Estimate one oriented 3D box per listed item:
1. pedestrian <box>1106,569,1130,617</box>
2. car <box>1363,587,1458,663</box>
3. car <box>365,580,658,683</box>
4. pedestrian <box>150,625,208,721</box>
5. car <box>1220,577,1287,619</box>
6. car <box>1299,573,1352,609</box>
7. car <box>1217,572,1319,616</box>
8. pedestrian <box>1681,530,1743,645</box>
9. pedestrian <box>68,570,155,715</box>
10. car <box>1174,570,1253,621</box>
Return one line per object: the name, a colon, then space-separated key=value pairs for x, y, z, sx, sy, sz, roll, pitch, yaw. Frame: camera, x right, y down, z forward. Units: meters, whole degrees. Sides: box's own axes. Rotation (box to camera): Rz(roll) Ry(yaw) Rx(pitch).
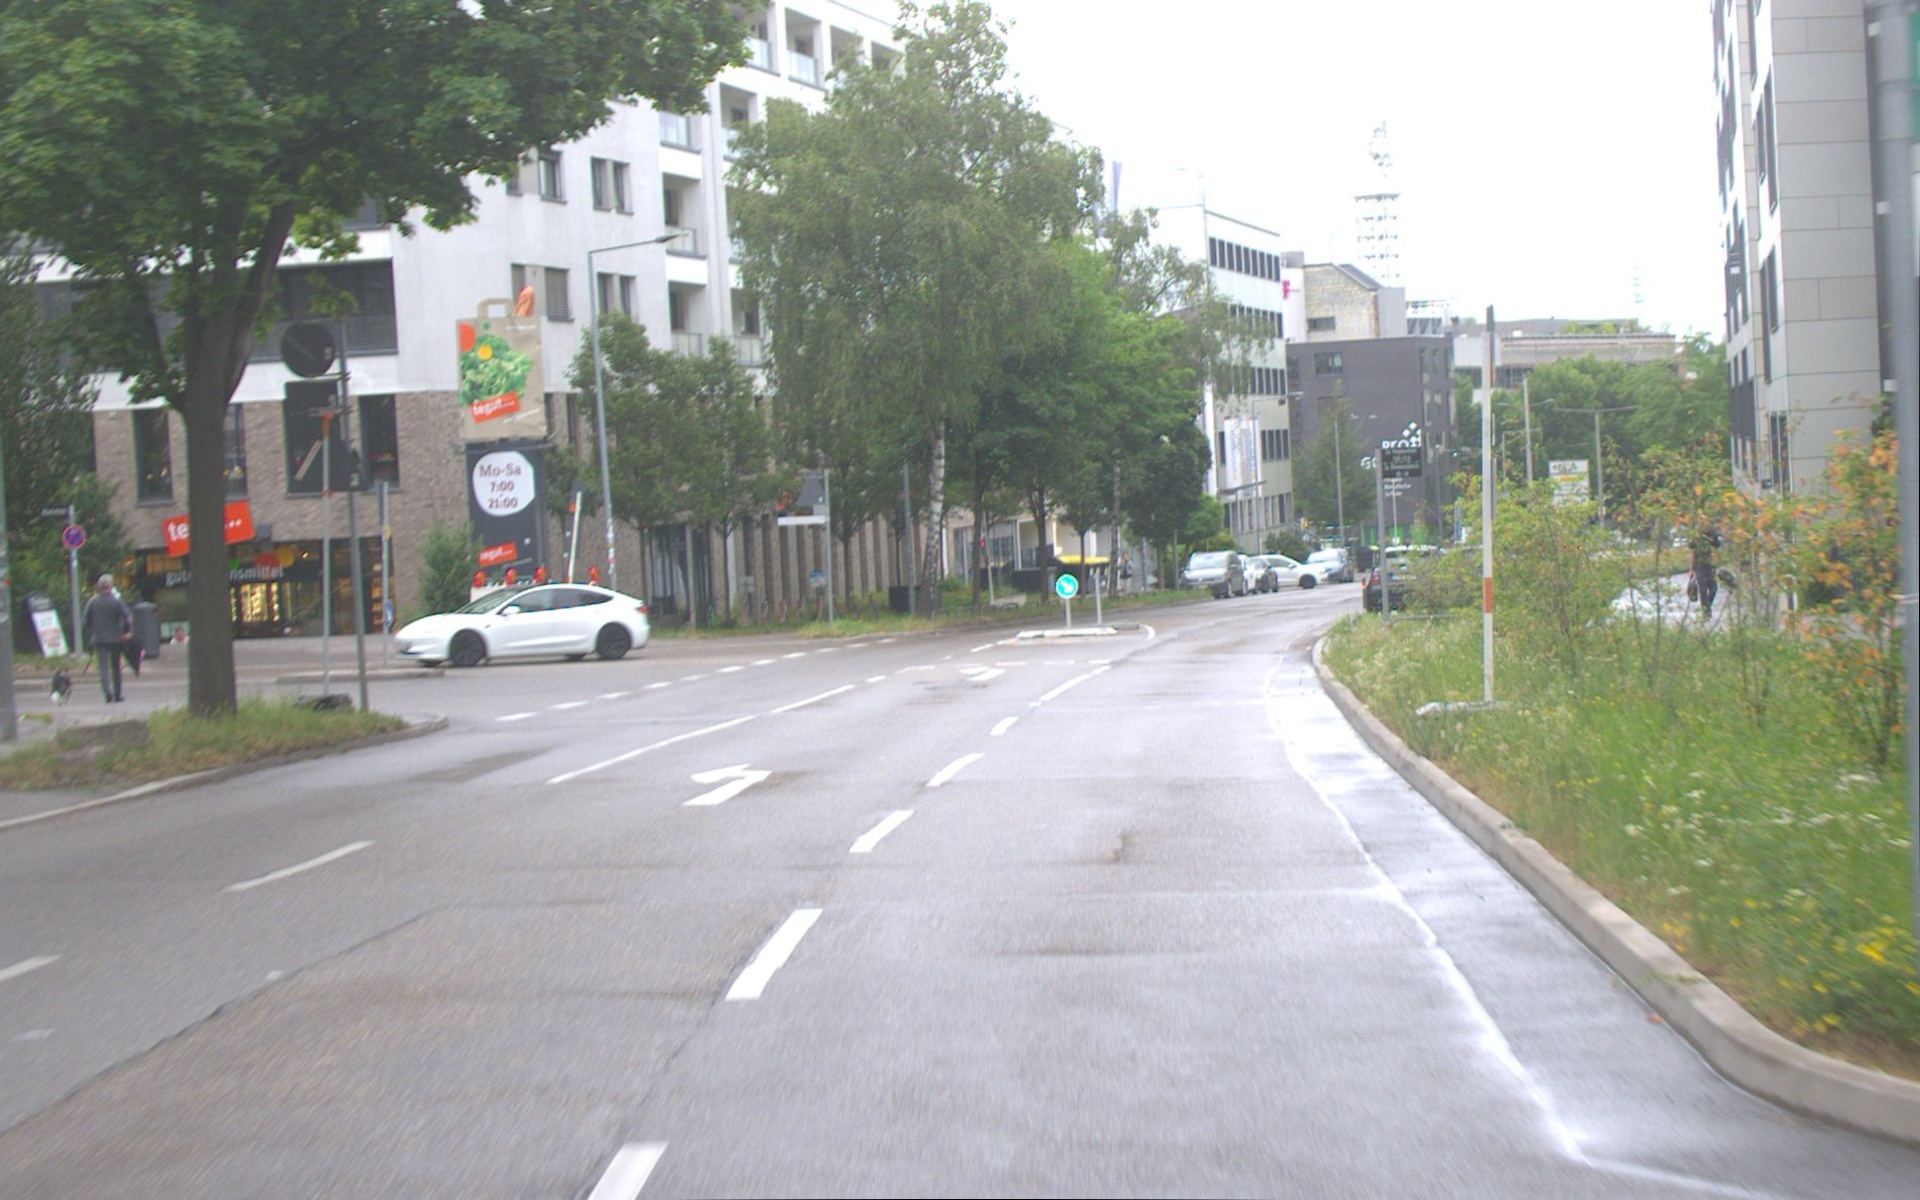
pedestrian: x=5.657 y=-0.262 z=122.961 sx=0.708 sy=1.677 sz=0.956 roll=-2 pitch=0 yaw=9
car: x=9.679 y=0.519 z=73.638 sx=1.547 sy=1.473 sz=3.658 roll=-2 pitch=1 yaw=14
car: x=-8.127 y=0.566 z=62.476 sx=4.806 sy=1.655 sz=2.063 roll=-2 pitch=0 yaw=-35
pedestrian: x=-16.831 y=1.571 z=74.091 sx=0.883 sy=2.007 sz=1.117 roll=-1 pitch=1 yaw=5
car: x=11.172 y=-0.067 z=130.780 sx=1.798 sy=1.511 sz=4.242 roll=-2 pitch=0 yaw=15
car: x=15.957 y=-0.390 z=149.776 sx=1.914 sy=1.476 sz=4.354 roll=-2 pitch=0 yaw=11
car: x=12.277 y=-0.251 z=137.176 sx=3.983 sy=1.571 sz=2.000 roll=-2 pitch=1 yaw=5
pedestrian: x=12.086 y=-0.196 z=55.292 sx=0.823 sy=1.790 sz=0.778 roll=-3 pitch=-1 yaw=7
pedestrian: x=-12.115 y=0.606 z=49.119 sx=1.055 sy=2.007 sz=1.100 roll=-2 pitch=-1 yaw=-8
car: x=8.943 y=-0.185 z=120.893 sx=2.078 sy=1.604 sz=4.683 roll=-3 pitch=0 yaw=12
